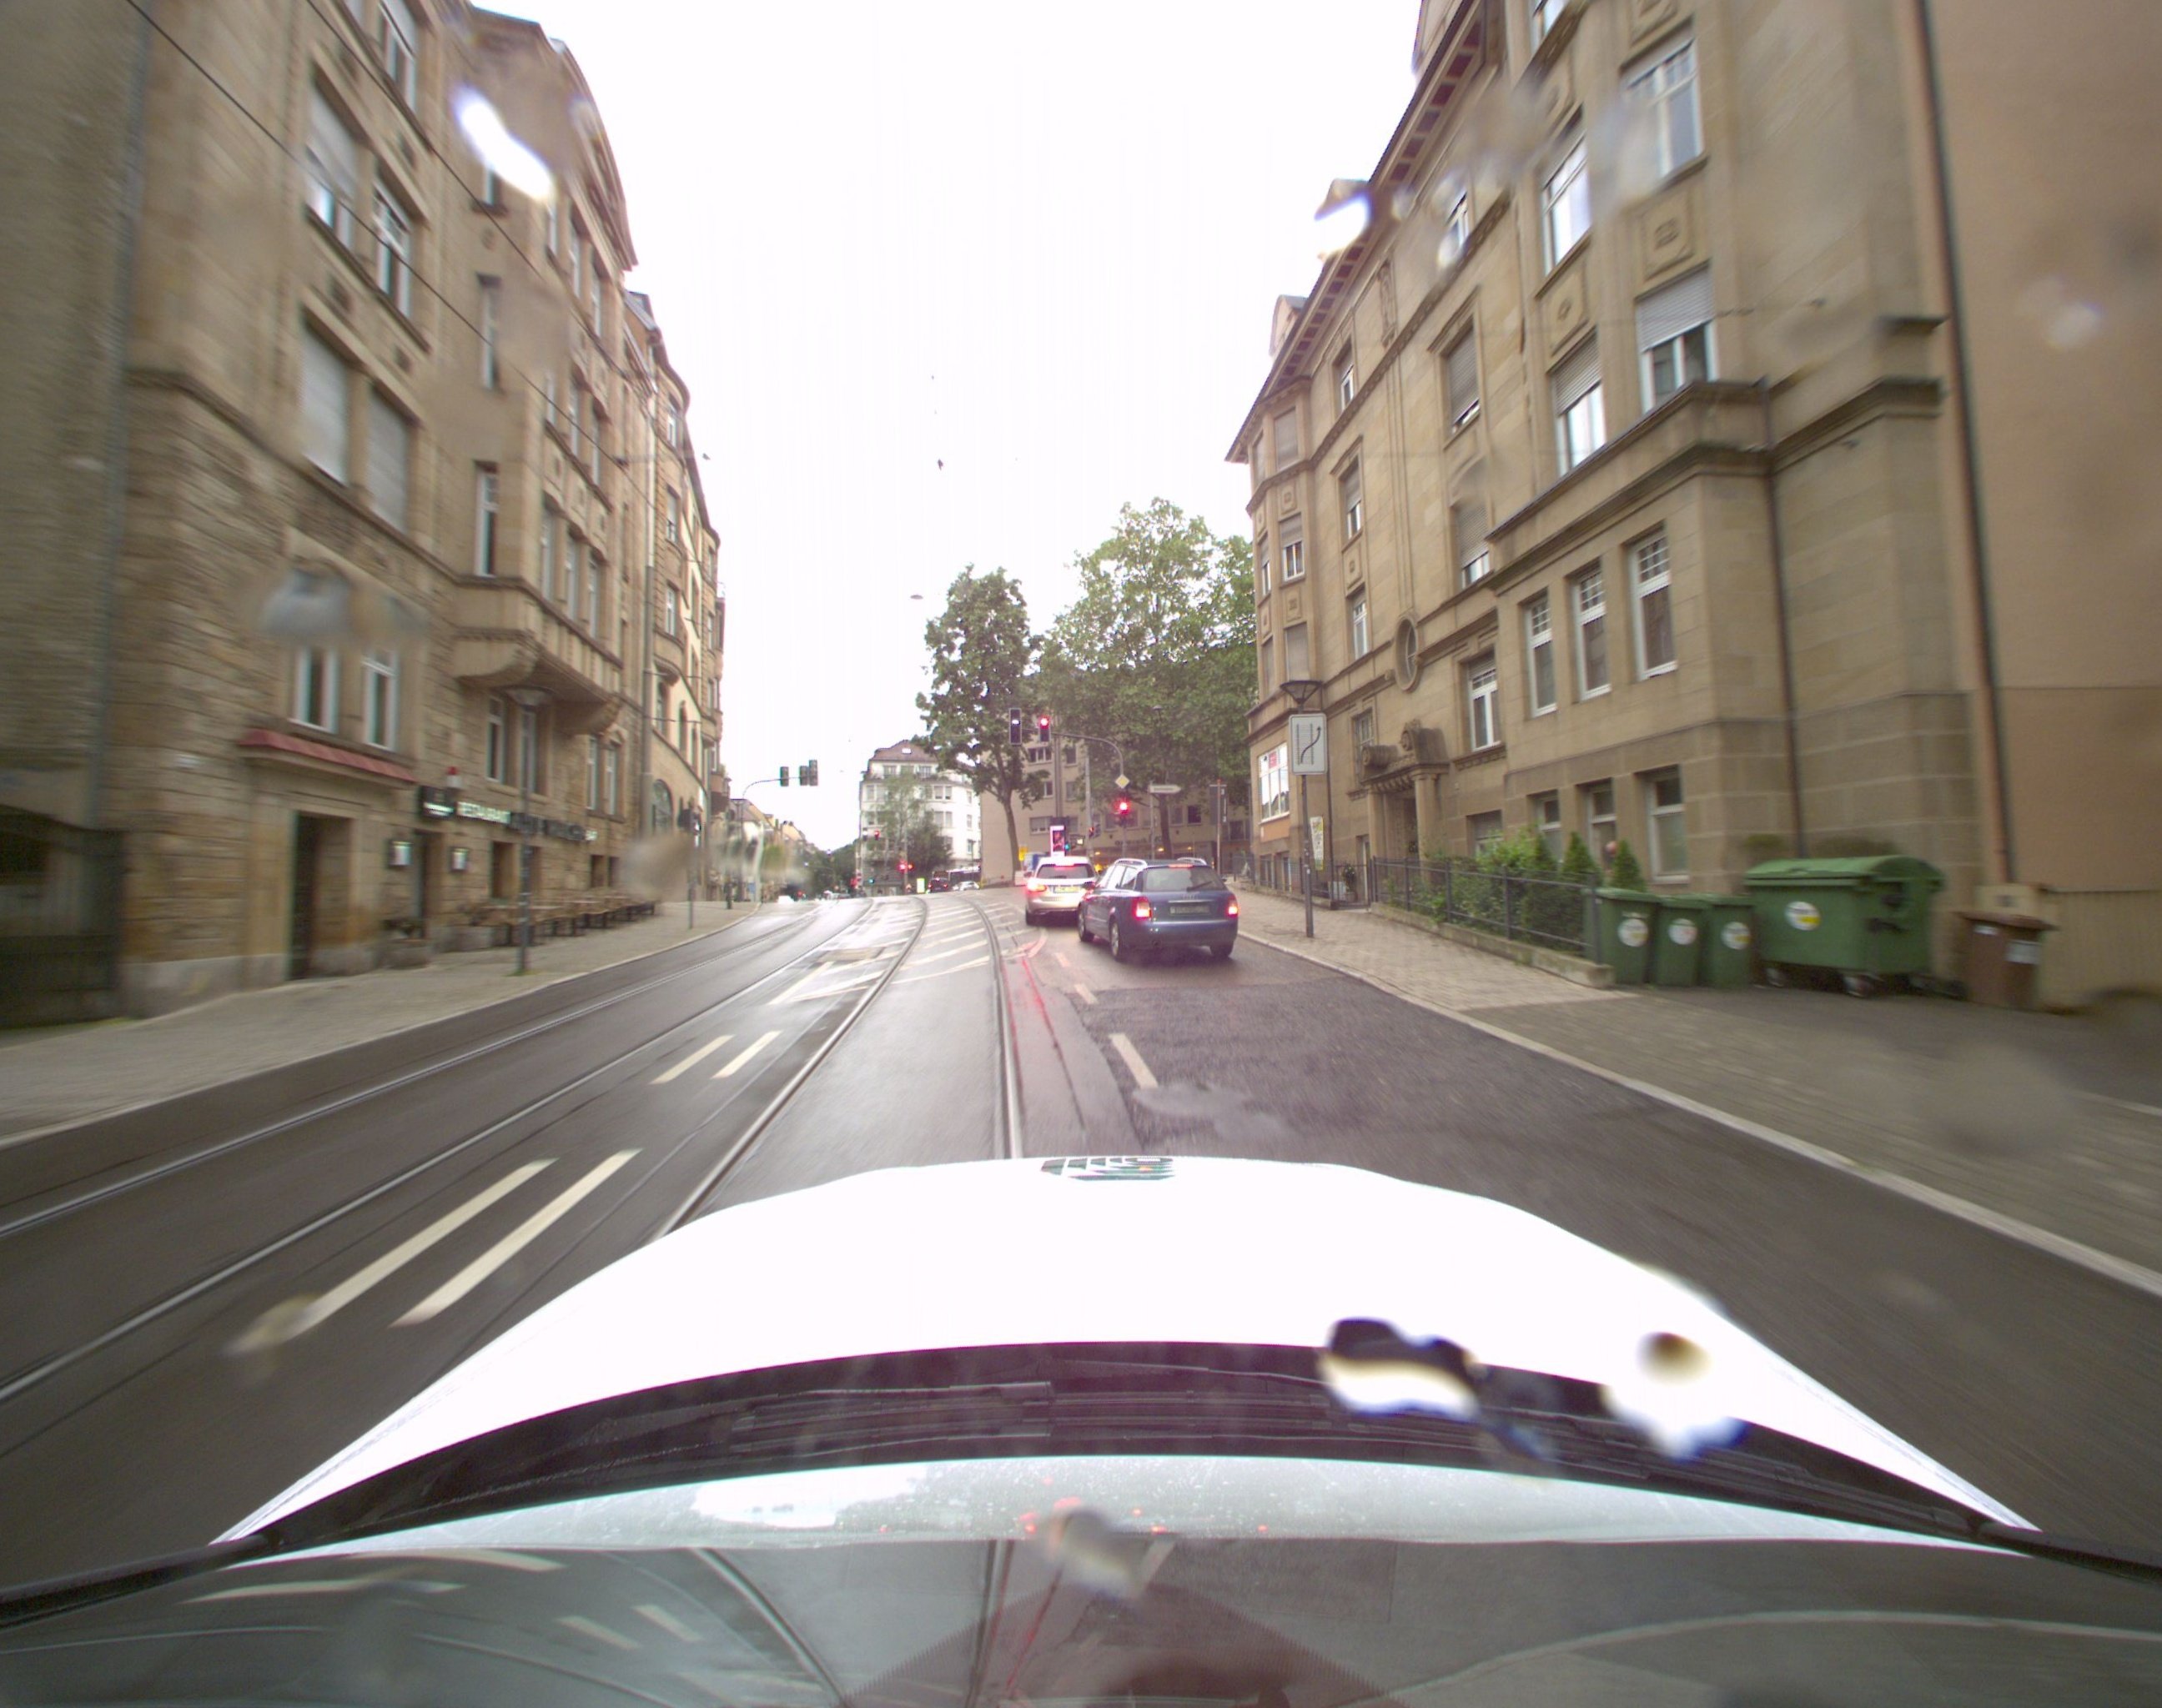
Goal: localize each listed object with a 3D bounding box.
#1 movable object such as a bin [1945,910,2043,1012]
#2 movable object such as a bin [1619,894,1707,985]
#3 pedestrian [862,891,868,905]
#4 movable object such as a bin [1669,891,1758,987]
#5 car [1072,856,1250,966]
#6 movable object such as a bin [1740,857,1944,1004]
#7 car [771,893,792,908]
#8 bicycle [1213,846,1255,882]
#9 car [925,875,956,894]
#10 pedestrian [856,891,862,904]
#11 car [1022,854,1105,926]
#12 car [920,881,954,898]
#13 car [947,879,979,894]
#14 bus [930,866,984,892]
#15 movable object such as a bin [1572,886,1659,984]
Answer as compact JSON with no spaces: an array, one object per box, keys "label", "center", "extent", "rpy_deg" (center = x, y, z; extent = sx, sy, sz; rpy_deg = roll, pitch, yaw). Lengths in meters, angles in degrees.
[{"label":"movable object such as a bin","center":[9.028,1.044,8.062],"extent":[0.393,0.943,0.518],"rpy_deg":[3,-2,-7]},{"label":"movable object such as a bin","center":[6.575,0.953,9.214],"extent":[0.536,0.968,0.603],"rpy_deg":[3,-2,-7]},{"label":"pedestrian","center":[-26.431,5.322,99.558],"extent":[0.649,1.661,0.647],"rpy_deg":[-1,-1,-16]},{"label":"movable object such as a bin","center":[7.212,0.956,9.304],"extent":[0.536,1.026,0.603],"rpy_deg":[3,-2,-7]},{"label":"car","center":[1.065,0.754,12.877],"extent":[1.711,1.415,4.020],"rpy_deg":[-1,0,-11]},{"label":"movable object such as a bin","center":[8.121,0.782,8.763],"extent":[0.970,1.432,1.276],"rpy_deg":[3,-2,-7]},{"label":"car","center":[-34.436,5.314,93.582],"extent":[1.803,1.510,4.627],"rpy_deg":[-2,0,-25]},{"label":"bicycle","center":[5.483,0.358,29.180],"extent":[1.299,1.173,0.525],"rpy_deg":[-4,0,-8]},{"label":"car","center":[-12.858,2.764,74.794],"extent":[1.786,1.510,4.004],"rpy_deg":[-4,0,4]},{"label":"pedestrian","center":[-27.952,5.450,102.579],"extent":[0.649,1.661,0.647],"rpy_deg":[-1,-1,-16]},{"label":"car","center":[-0.427,0.739,18.689],"extent":[1.706,1.456,3.549],"rpy_deg":[-1,0,-2]},{"label":"car","center":[-15.926,3.952,90.104],"extent":[1.778,1.614,4.022],"rpy_deg":[-2,0,23]},{"label":"car","center":[-13.792,3.757,95.284],"extent":[1.778,1.510,4.022],"rpy_deg":[-2,0,23]},{"label":"bus","center":[-15.350,3.065,101.725],"extent":[2.831,2.861,8.776],"rpy_deg":[-2,0,19]},{"label":"movable object such as a bin","center":[5.997,0.895,9.156],"extent":[0.536,1.026,0.603],"rpy_deg":[3,-2,-7]}]
